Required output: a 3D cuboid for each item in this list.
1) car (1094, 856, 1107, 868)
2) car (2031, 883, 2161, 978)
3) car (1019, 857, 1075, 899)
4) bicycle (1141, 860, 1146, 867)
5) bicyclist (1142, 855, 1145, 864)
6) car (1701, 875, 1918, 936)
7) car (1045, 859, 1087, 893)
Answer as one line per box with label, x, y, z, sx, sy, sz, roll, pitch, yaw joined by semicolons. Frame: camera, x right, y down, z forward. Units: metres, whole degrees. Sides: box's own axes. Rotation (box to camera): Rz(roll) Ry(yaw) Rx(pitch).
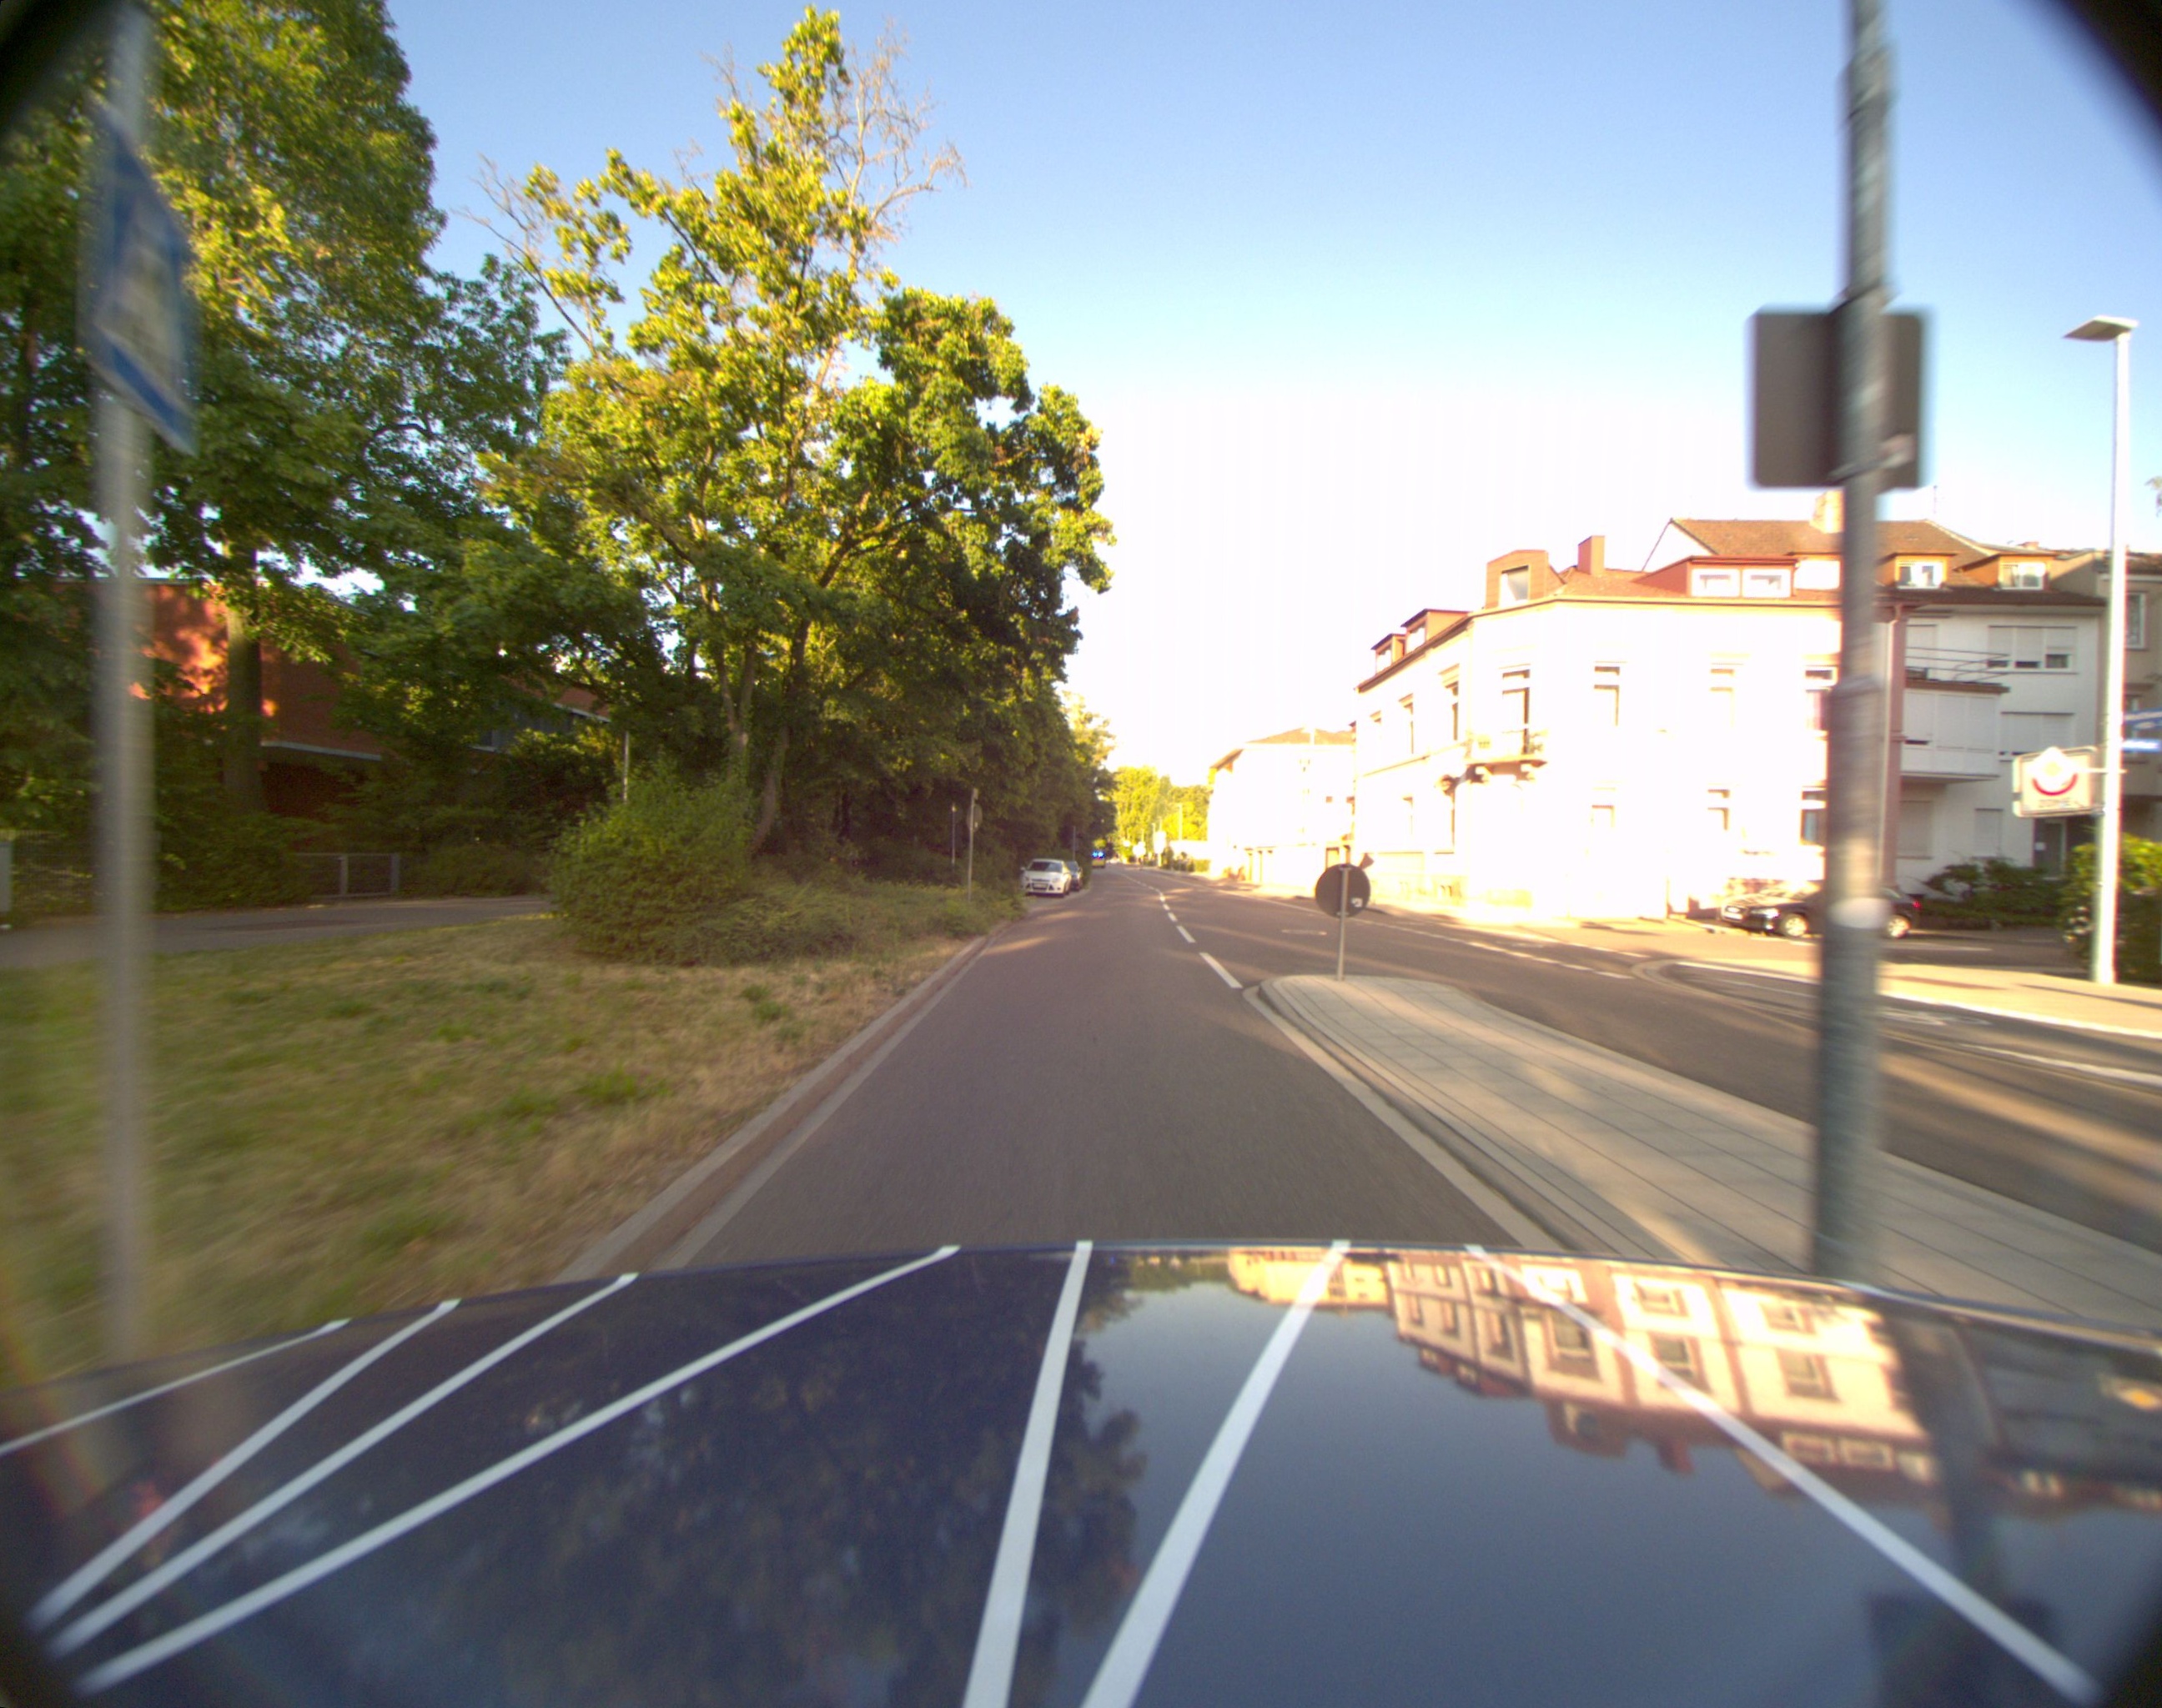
car;3.383;1.339;130.498;2.228;2.002;4.891;1;0;2
car;20.656;1.396;13.945;3.915;1.431;1.817;1;5;2
car;-1.312;0.911;30.725;1.752;1.478;4.177;3;0;4
bicycle;9.513;1.417;116.023;0.576;1.056;1.849;1;0;0
bicyclist;9.529;0.848;116.021;0.479;1.258;0.567;1;0;0
car;19.085;1.328;20.034;3.916;1.430;1.904;1;0;-1
car;-0.659;1.036;37.285;1.752;1.478;4.510;1;0;3
